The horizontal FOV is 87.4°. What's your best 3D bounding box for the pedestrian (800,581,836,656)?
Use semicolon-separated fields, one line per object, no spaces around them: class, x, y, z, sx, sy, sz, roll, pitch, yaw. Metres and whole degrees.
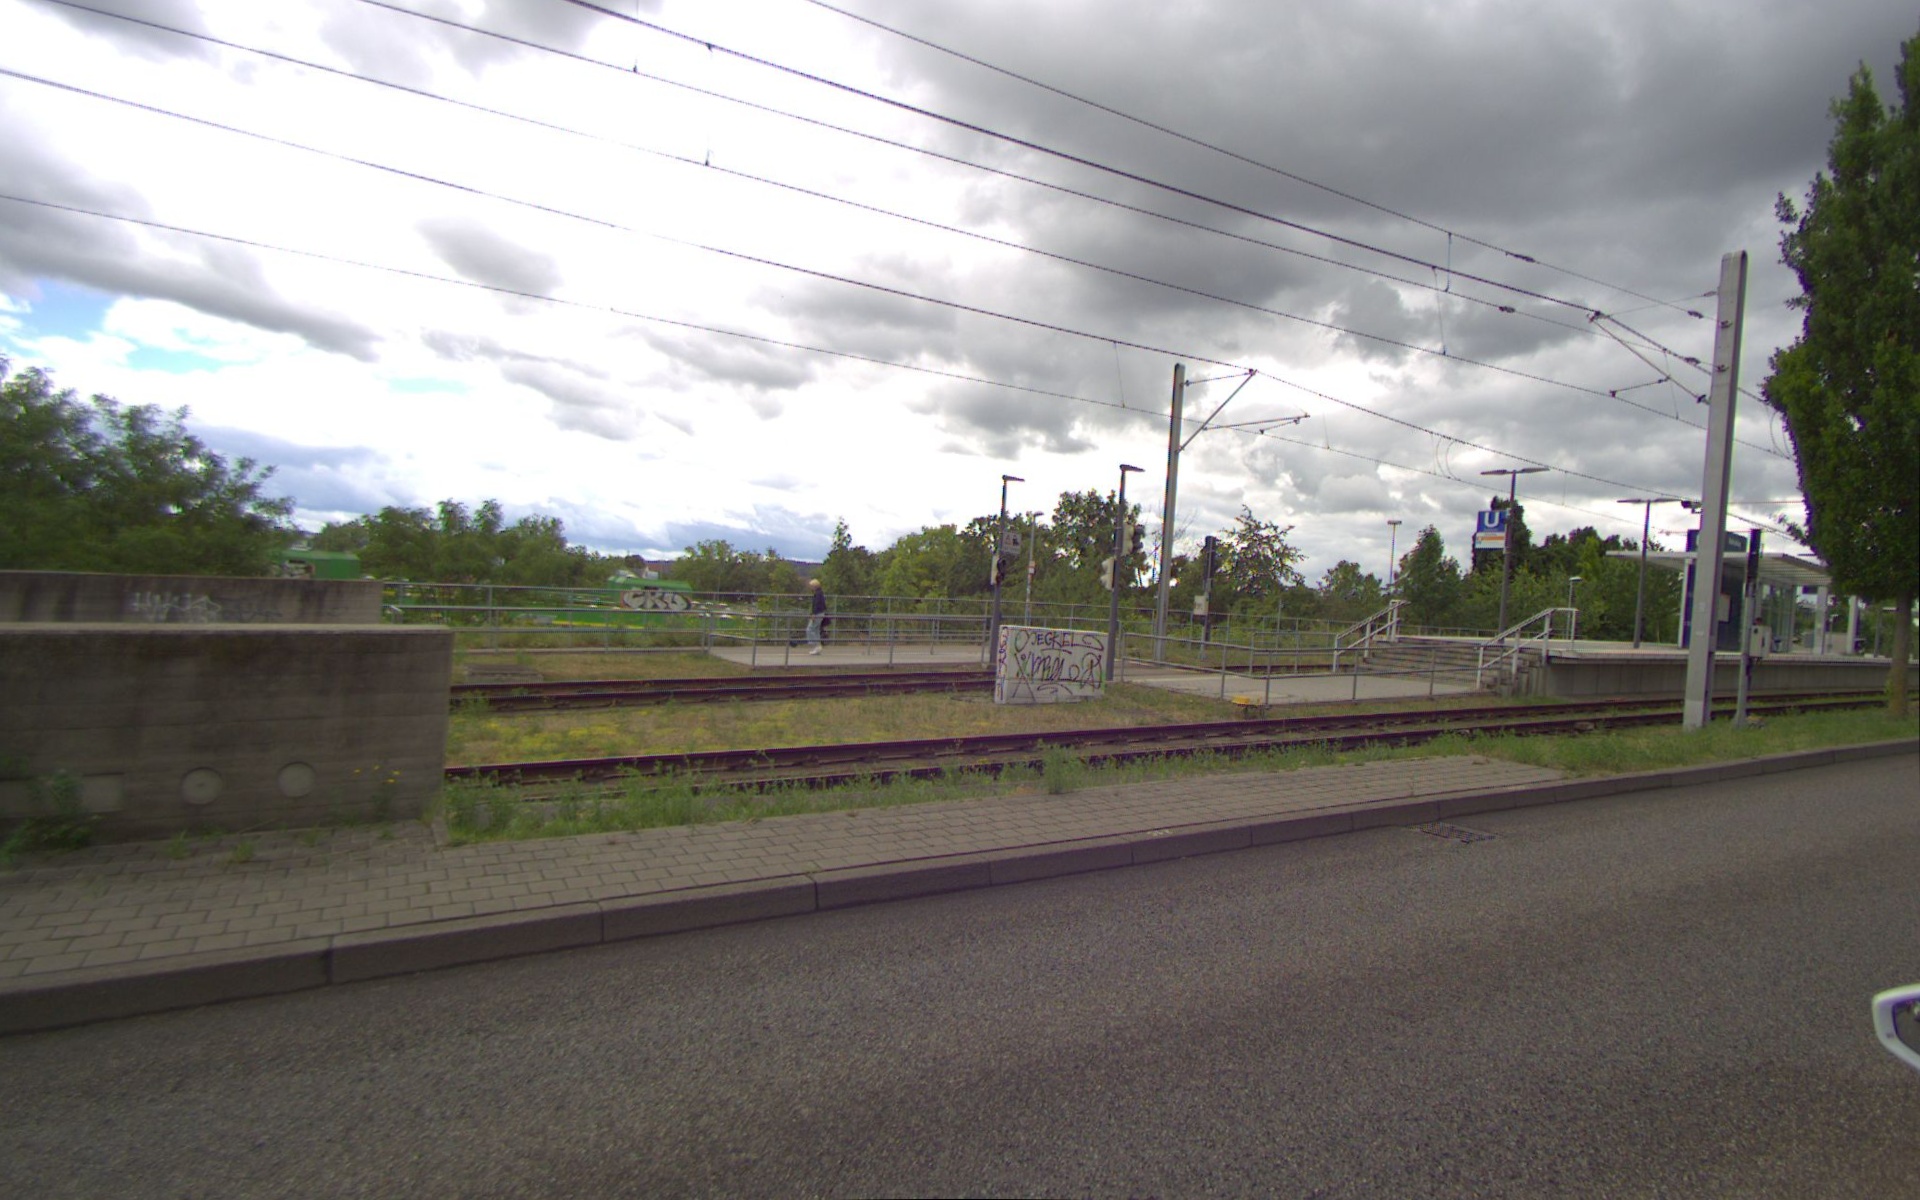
pedestrian;-3.190;0.411;22.571;0.638;1.646;0.505;2;0;-30

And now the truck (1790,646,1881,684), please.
truck;97.579;7.188;112.062;2.661;3.647;7.203;2;0;-30

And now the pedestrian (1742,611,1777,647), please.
pedestrian;27.402;0.991;34.432;0.659;1.215;0.756;3;0;-35

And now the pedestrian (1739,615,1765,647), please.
pedestrian;27.824;1.091;35.294;0.466;1.093;0.603;1;0;-35
